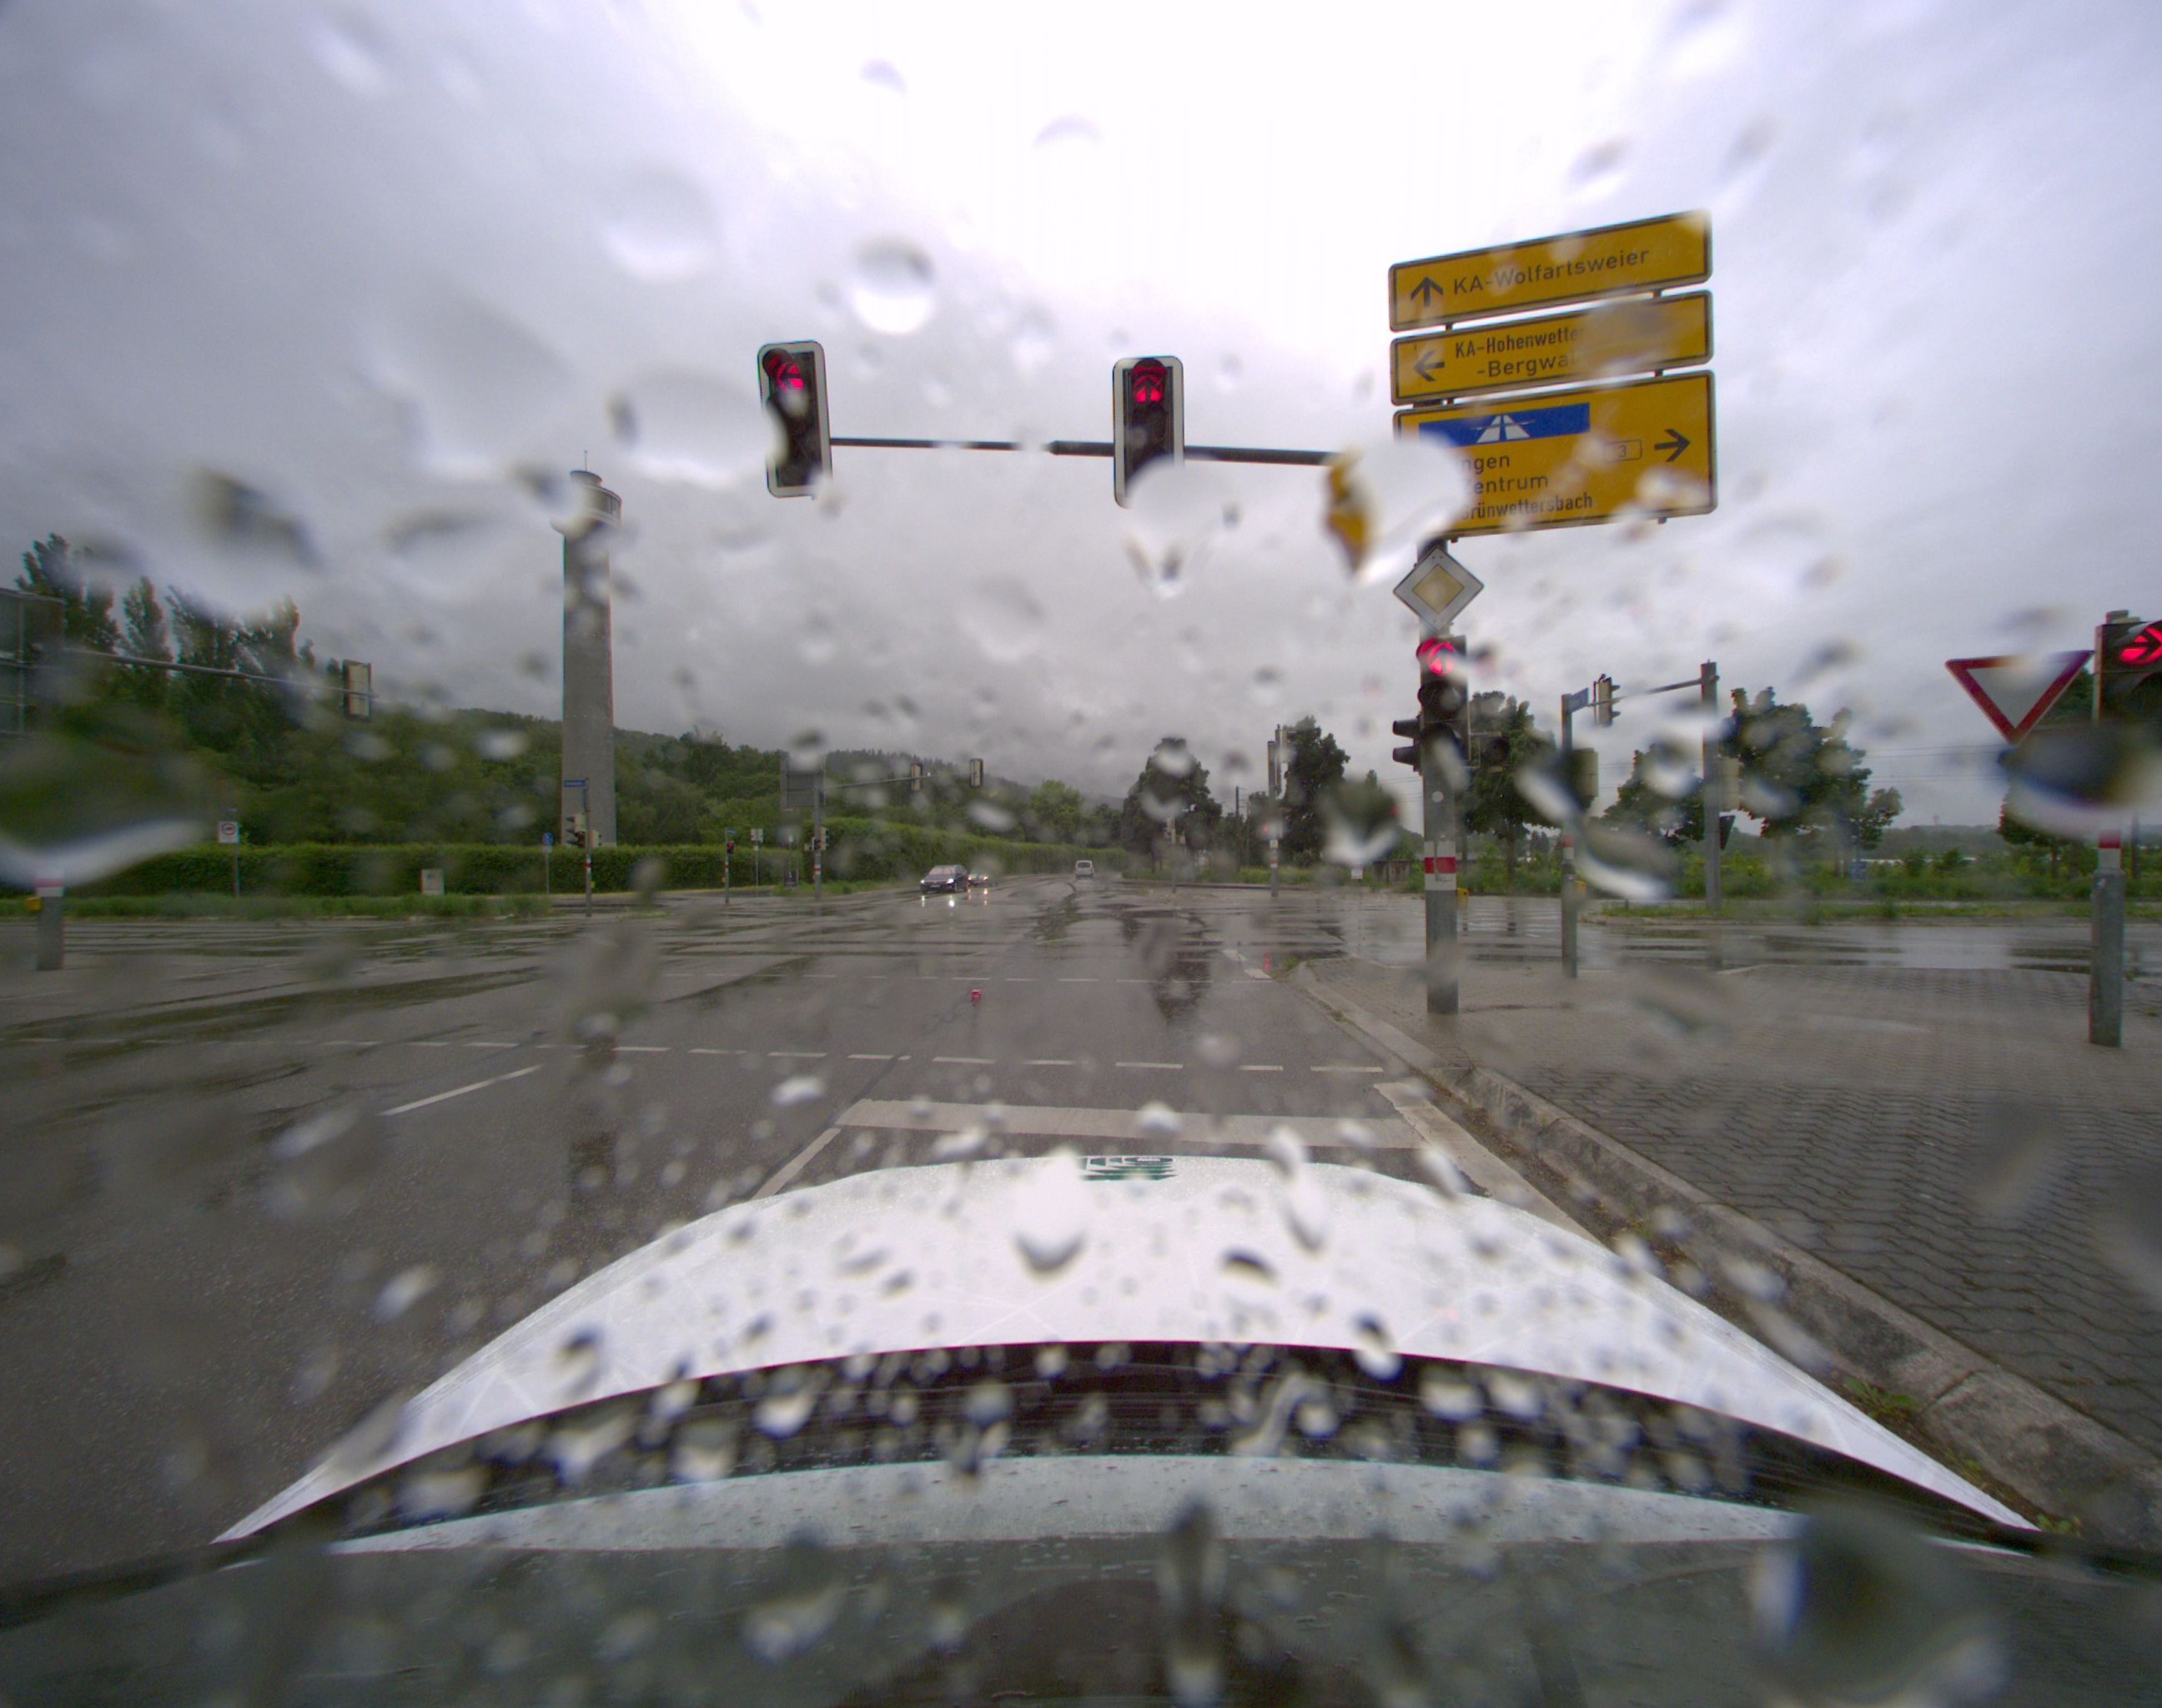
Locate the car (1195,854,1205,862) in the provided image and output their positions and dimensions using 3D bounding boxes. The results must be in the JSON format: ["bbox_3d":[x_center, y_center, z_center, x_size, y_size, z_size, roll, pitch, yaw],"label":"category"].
[{"bbox_3d":[31.408,1.103,214.291,1.917,1.890,4.079,-1,0,16],"label":"car"}]

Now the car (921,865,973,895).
[{"bbox_3d":[-7.148,1.382,43.767,1.700,1.466,4.459,-1,0,5],"label":"car"}]

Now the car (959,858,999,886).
[{"bbox_3d":[-6.760,1.183,54.311,2.029,1.708,4.067,-1,0,2],"label":"car"}]

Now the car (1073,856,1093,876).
[{"bbox_3d":[0.200,1.216,82.937,1.947,1.904,4.119,-1,0,0],"label":"car"}]
